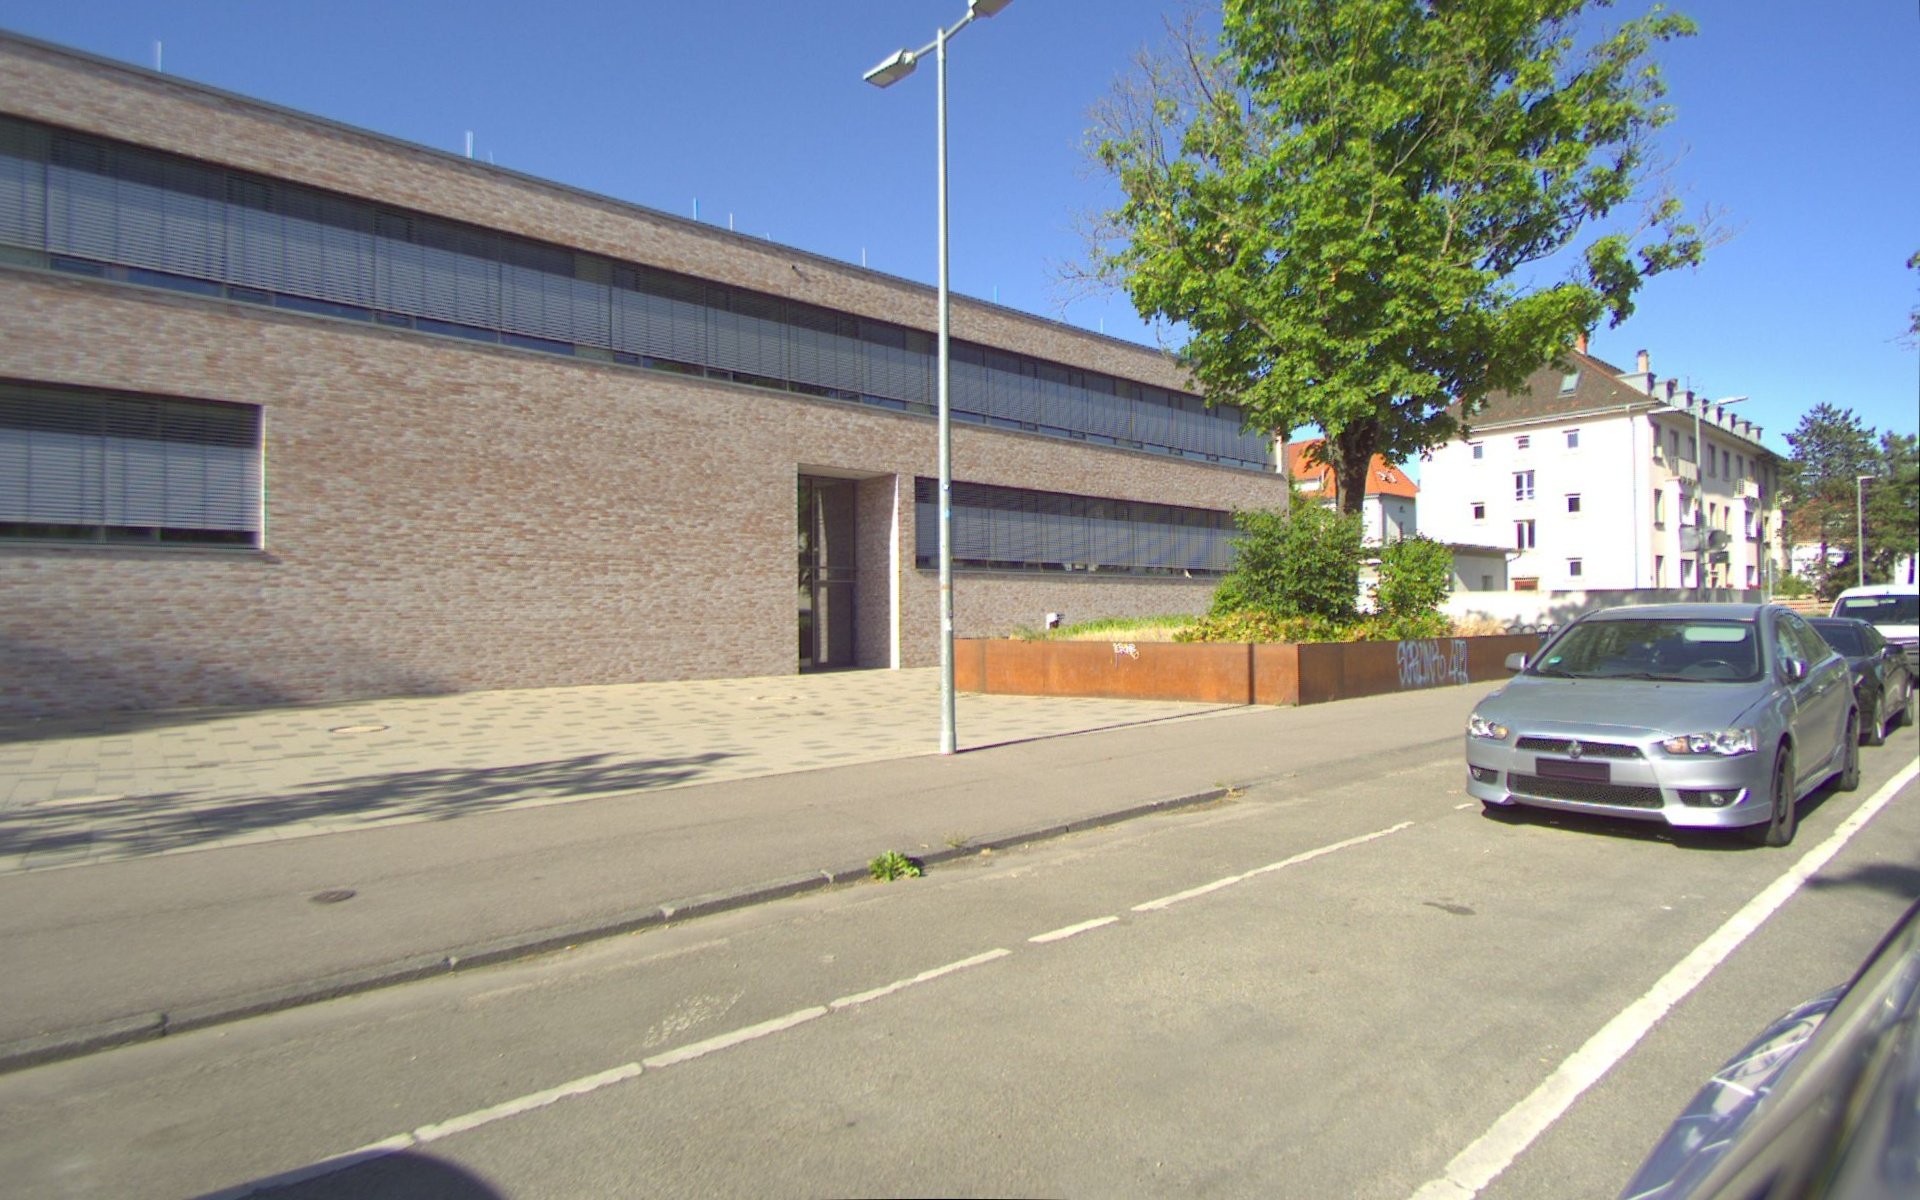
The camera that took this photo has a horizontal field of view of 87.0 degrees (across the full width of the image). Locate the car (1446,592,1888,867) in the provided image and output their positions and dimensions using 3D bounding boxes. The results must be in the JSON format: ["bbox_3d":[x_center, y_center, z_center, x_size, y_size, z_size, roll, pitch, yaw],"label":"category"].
[{"bbox_3d":[5.401,0.720,7.520,4.100,1.497,1.704,0,-1,-41],"label":"car"}]

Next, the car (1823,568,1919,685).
[{"bbox_3d":[17.346,0.440,18.497,4.385,1.933,1.810,0,-2,-42],"label":"car"}]

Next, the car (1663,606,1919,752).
[{"bbox_3d":[9.643,0.773,11.556,4.057,1.342,1.704,0,-1,-41],"label":"car"}]
